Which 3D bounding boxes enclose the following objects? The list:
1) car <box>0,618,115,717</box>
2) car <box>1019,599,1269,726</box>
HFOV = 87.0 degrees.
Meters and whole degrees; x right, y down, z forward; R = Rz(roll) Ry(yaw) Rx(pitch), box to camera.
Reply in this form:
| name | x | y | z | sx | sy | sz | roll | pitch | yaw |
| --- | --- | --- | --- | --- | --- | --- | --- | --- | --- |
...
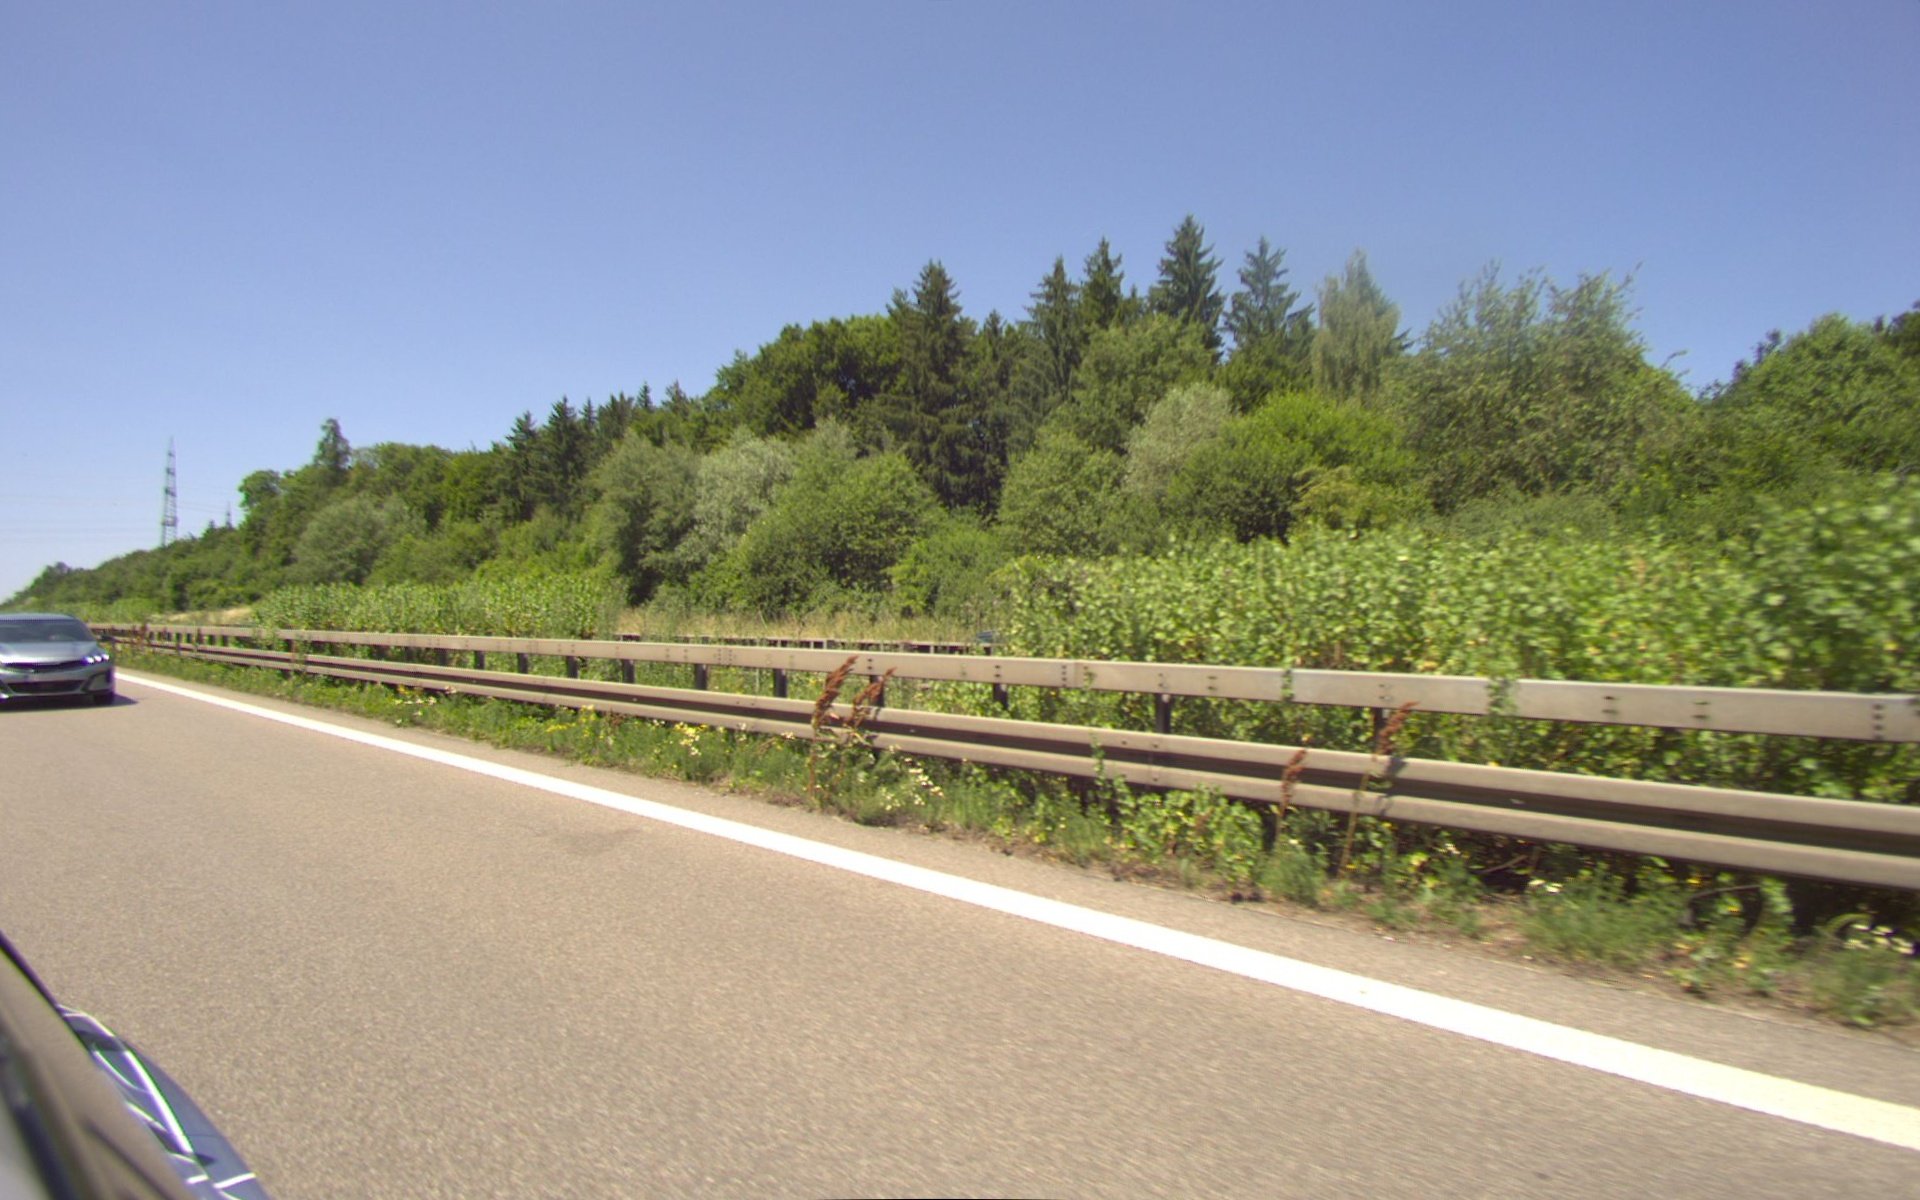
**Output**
| name | x | y | z | sx | sy | sz | roll | pitch | yaw |
| --- | --- | --- | --- | --- | --- | --- | --- | --- | --- |
| car | -15.189 | 1.029 | 16.410 | 3.998 | 1.419 | 1.745 | -1 | -1 | 42 |
| car | 3.246 | 1.033 | 18.262 | 3.998 | 2.029 | 1.972 | -1 | -1 | 42 |
